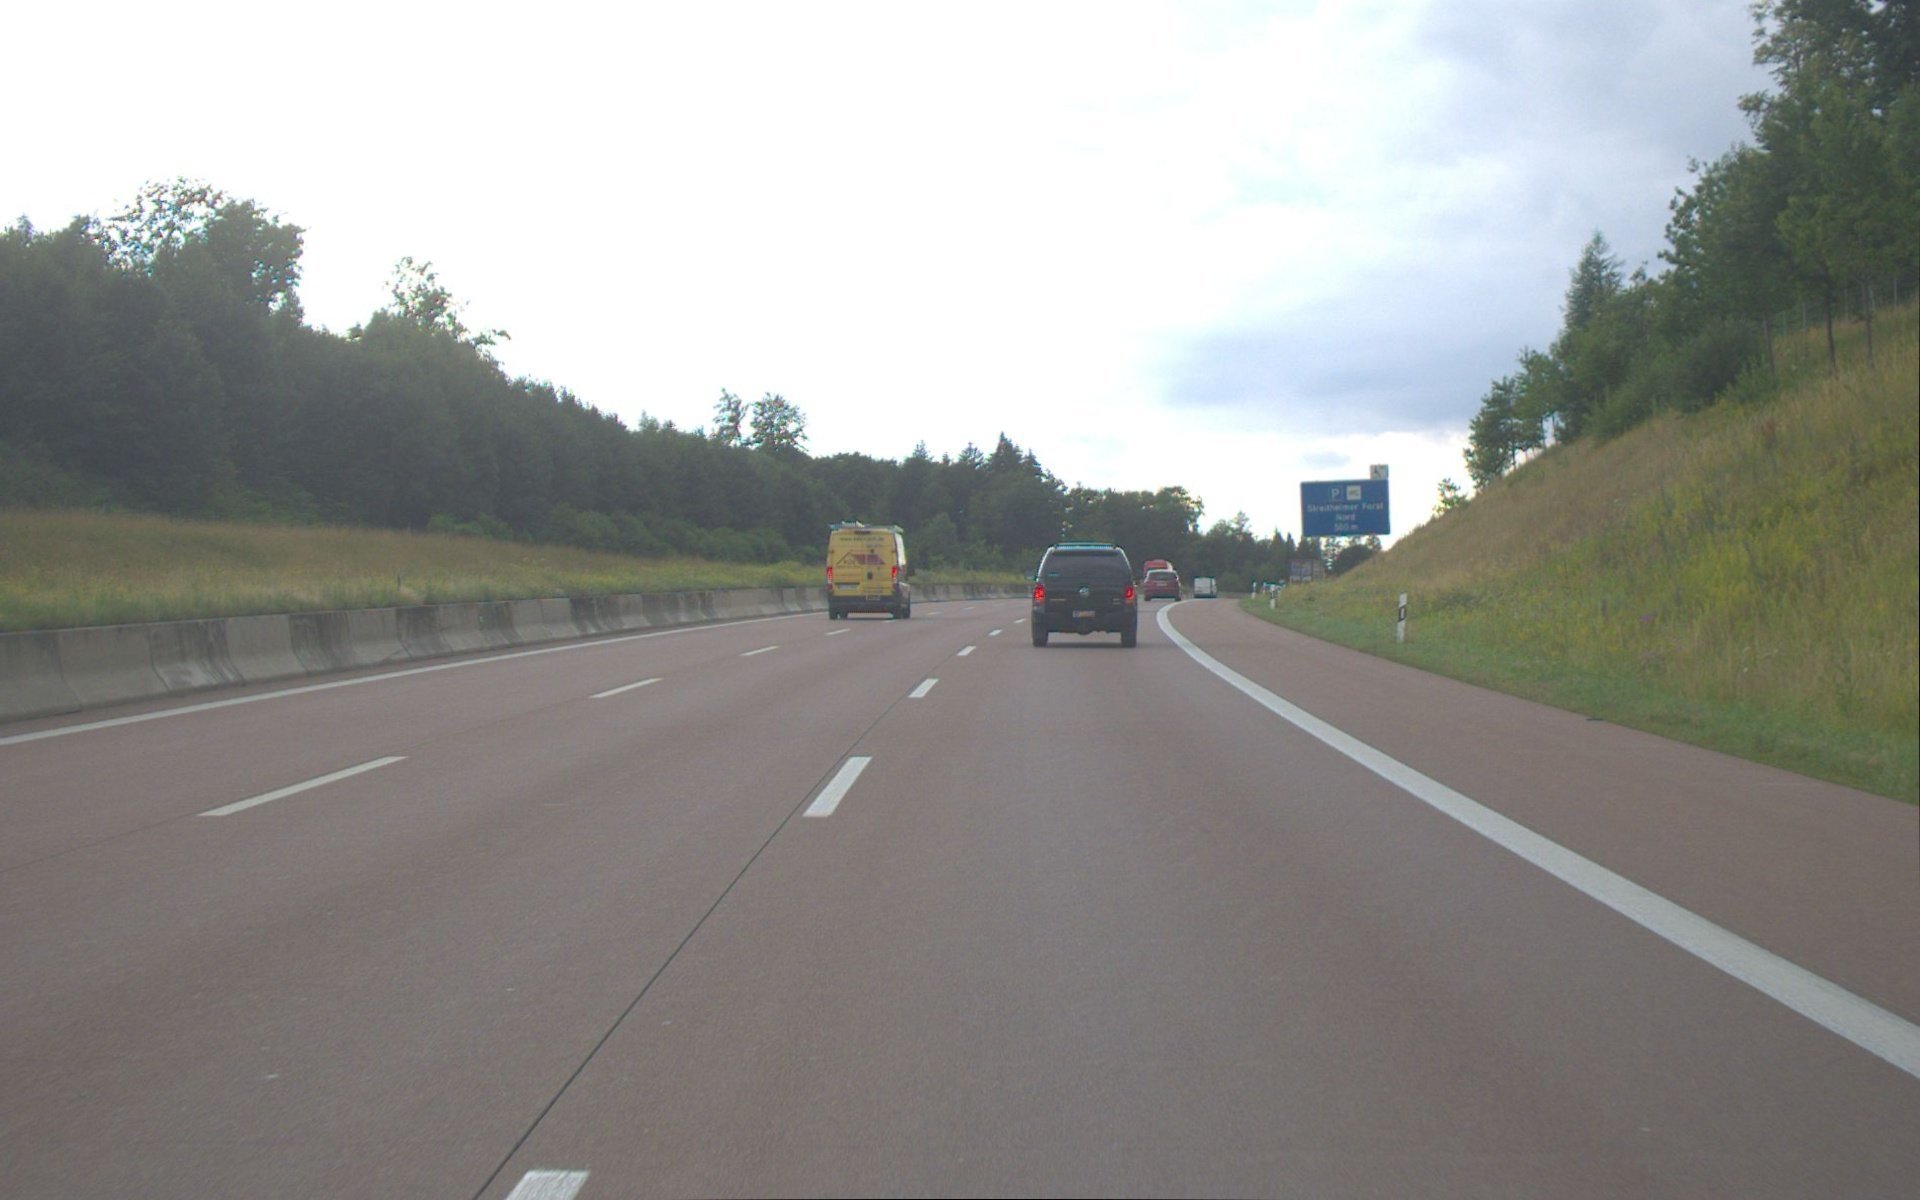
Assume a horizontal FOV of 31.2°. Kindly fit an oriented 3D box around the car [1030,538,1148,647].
[{"bbox_3d":[2.342,-0.105,63.135,2.044,1.890,5.577,-1,-1,2],"label":"car"}]

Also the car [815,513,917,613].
[{"bbox_3d":[-2.645,-1.025,98.027,2.459,2.697,5.613,-1,-1,3],"label":"car"}]

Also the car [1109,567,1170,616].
[{"bbox_3d":[6.166,-0.279,117.798,1.978,1.642,4.618,0,0,4],"label":"car"}]

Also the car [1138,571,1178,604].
[{"bbox_3d":[10.366,-0.635,180.258,1.978,1.642,4.618,-1,-1,2],"label":"car"}]
